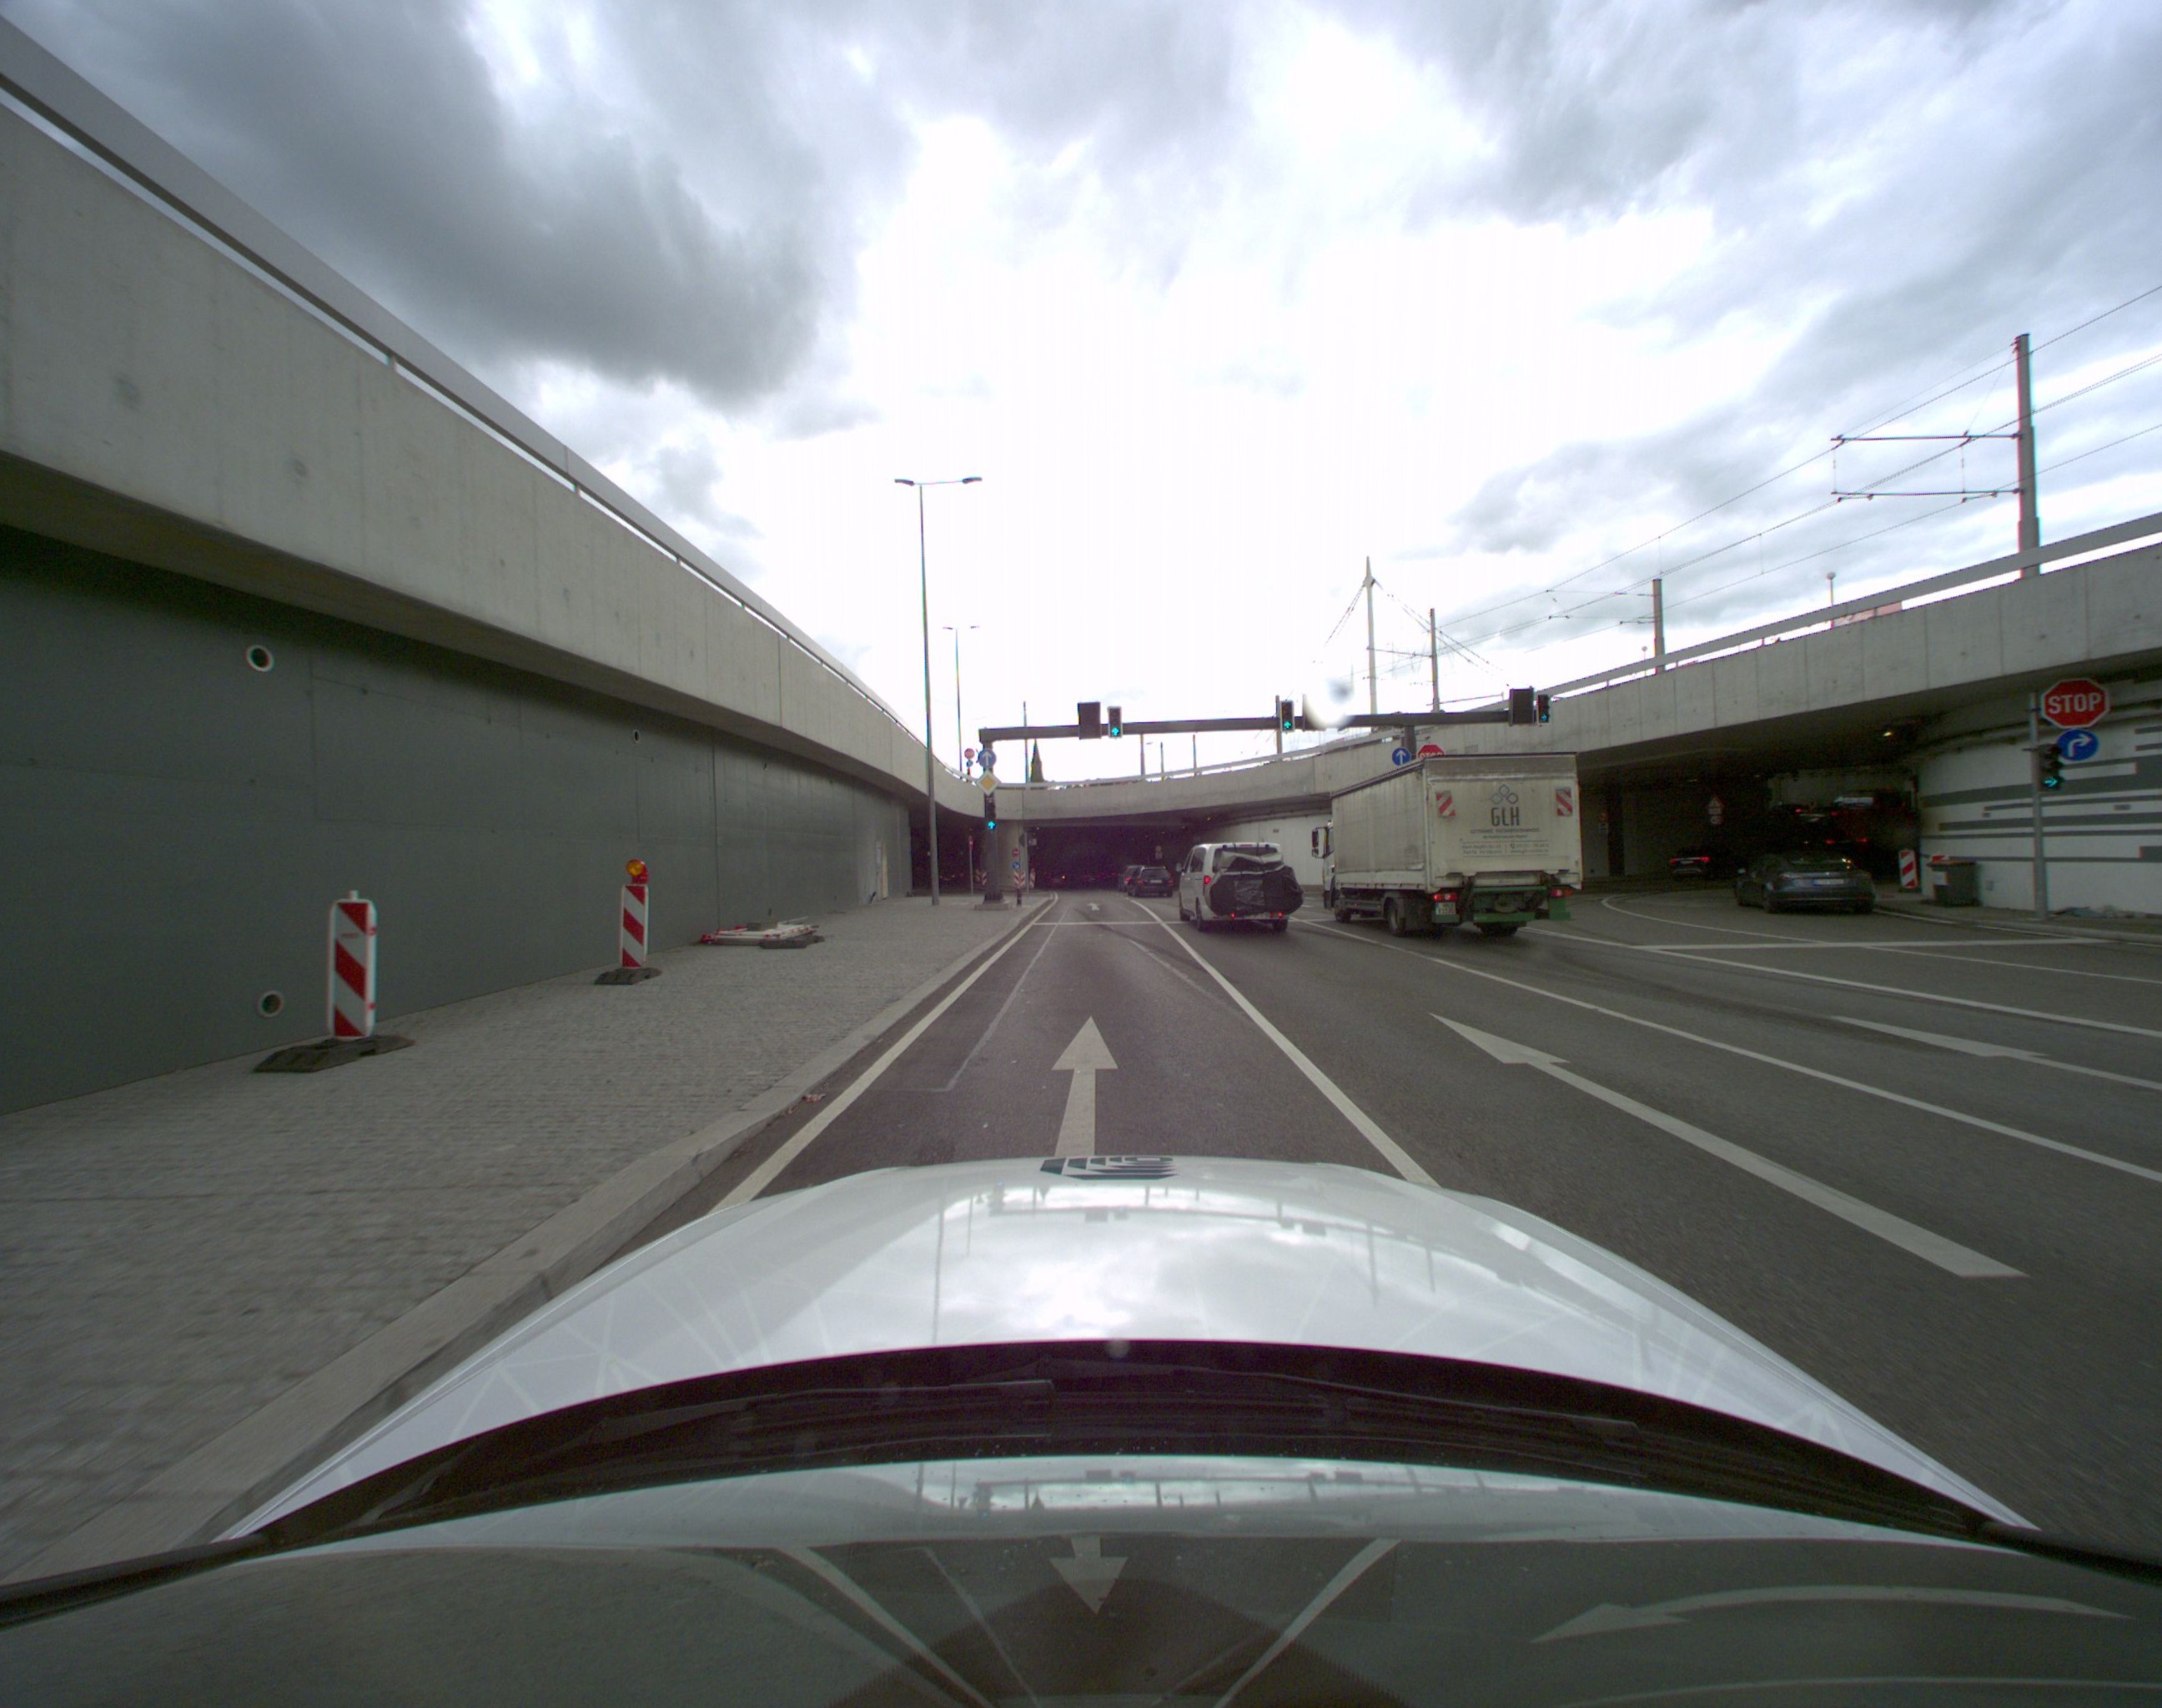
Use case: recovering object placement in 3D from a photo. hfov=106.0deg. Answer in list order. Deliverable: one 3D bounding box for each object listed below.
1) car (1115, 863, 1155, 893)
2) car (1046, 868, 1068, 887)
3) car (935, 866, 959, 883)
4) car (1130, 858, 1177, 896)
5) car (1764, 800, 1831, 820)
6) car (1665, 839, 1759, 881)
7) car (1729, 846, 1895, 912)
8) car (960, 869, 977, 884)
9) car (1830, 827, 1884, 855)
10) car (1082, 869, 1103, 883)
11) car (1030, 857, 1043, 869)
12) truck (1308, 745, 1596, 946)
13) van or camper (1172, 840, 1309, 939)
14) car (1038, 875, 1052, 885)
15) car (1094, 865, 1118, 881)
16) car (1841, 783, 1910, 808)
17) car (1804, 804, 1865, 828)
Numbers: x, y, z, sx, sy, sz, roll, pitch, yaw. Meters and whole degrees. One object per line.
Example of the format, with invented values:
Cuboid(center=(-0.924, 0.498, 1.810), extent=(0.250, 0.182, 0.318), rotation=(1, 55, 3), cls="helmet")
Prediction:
Cuboid(center=(3.167, 1.393, 48.351), extent=(1.815, 1.580, 3.994), rotation=(2, 0, -4), cls="car")
Cuboid(center=(-2.115, 2.022, 70.403), extent=(1.658, 1.488, 3.560), rotation=(-1, -1, -5), cls="car")
Cuboid(center=(-12.327, 1.859, 74.573), extent=(1.668, 1.441, 4.090), rotation=(-2, 0, -17), cls="car")
Cuboid(center=(3.342, 1.126, 38.201), extent=(1.813, 1.684, 3.999), rotation=(-1, -3, 0), cls="car")
Cuboid(center=(64.625, -3.990, 73.565), extent=(2.129, 1.627, 4.398), rotation=(-4, 3, 0), cls="car")
Cuboid(center=(29.065, 0.276, 37.513), extent=(4.009, 1.588, 1.817), rotation=(-5, 1, -27), cls="car")
Cuboid(center=(17.424, 0.546, 19.685), extent=(1.974, 1.401, 4.494), rotation=(-2, -1, 29), cls="car")
Cuboid(center=(-13.740, 2.752, 99.865), extent=(1.806, 1.604, 4.777), rotation=(-2, 0, -6), cls="car")
Cuboid(center=(44.799, -0.784, 46.992), extent=(3.686, 1.333, 1.670), rotation=(-6, 3, -37), cls="car")
Cuboid(center=(1.082, 2.100, 78.453), extent=(1.661, 1.247, 3.560), rotation=(-1, -1, -5), cls="car")
Cuboid(center=(-7.705, 1.479, 140.080), extent=(1.991, 2.014, 3.991), rotation=(-1, 0, -6), cls="car")
Cuboid(center=(7.070, -0.114, 16.976), extent=(2.640, 3.185, 7.427), rotation=(-2, 0, 1), cls="truck")
Cuboid(center=(3.321, 0.648, 18.115), extent=(1.987, 1.845, 5.507), rotation=(0, 0, 0), cls="van or camper")
Cuboid(center=(-4.517, 3.243, 101.154), extent=(1.506, 1.247, 3.560), rotation=(-1, -1, -5), cls="car")
Cuboid(center=(2.778, 2.181, 91.370), extent=(1.989, 1.676, 4.495), rotation=(-1, -1, -8), cls="car")
Cuboid(center=(63.583, -4.652, 65.249), extent=(1.832, 1.657, 4.375), rotation=(-4, 1, 12), cls="car")
Cuboid(center=(59.882, -3.008, 64.829), extent=(1.830, 1.657, 4.379), rotation=(-1, 0, 17), cls="car")
